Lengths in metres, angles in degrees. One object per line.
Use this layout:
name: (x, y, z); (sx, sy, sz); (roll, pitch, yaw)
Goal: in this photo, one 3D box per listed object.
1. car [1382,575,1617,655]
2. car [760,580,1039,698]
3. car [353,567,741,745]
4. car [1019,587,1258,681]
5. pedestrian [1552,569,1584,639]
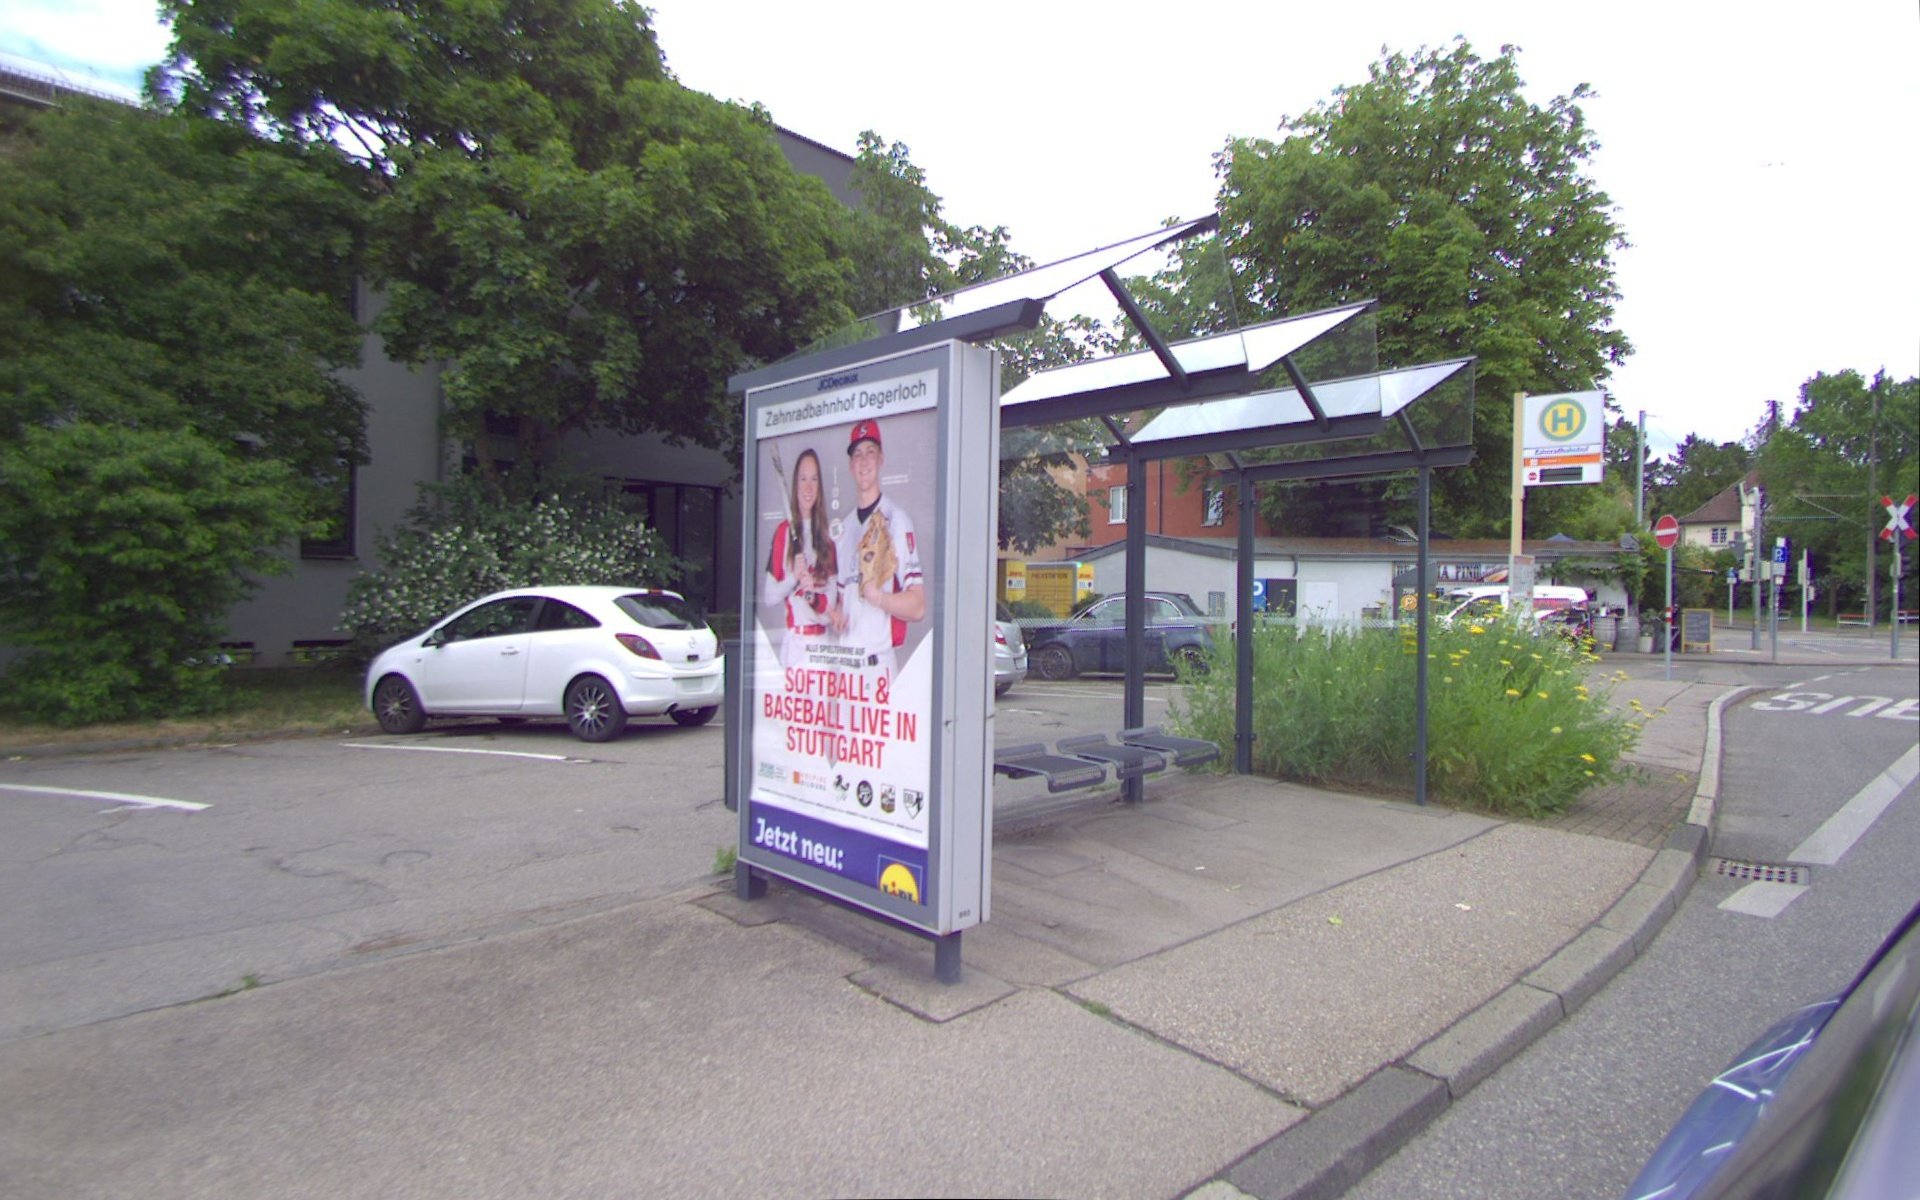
car: (12.804, 0.338, 24.187); (4.602, 1.770, 1.853); (1, 0, -3)
car: (-0.803, 0.484, 13.833); (3.471, 1.395, 1.537); (2, -1, 19)
car: (-4.195, 0.448, 10.294); (3.608, 1.452, 1.580); (2, 3, 22)
car: (3.157, 0.525, 17.709); (3.946, 1.495, 1.870); (0, 0, 18)
pedestrian: (16.726, 0.117, 27.832); (0.682, 1.881, 0.616); (3, 0, 32)
